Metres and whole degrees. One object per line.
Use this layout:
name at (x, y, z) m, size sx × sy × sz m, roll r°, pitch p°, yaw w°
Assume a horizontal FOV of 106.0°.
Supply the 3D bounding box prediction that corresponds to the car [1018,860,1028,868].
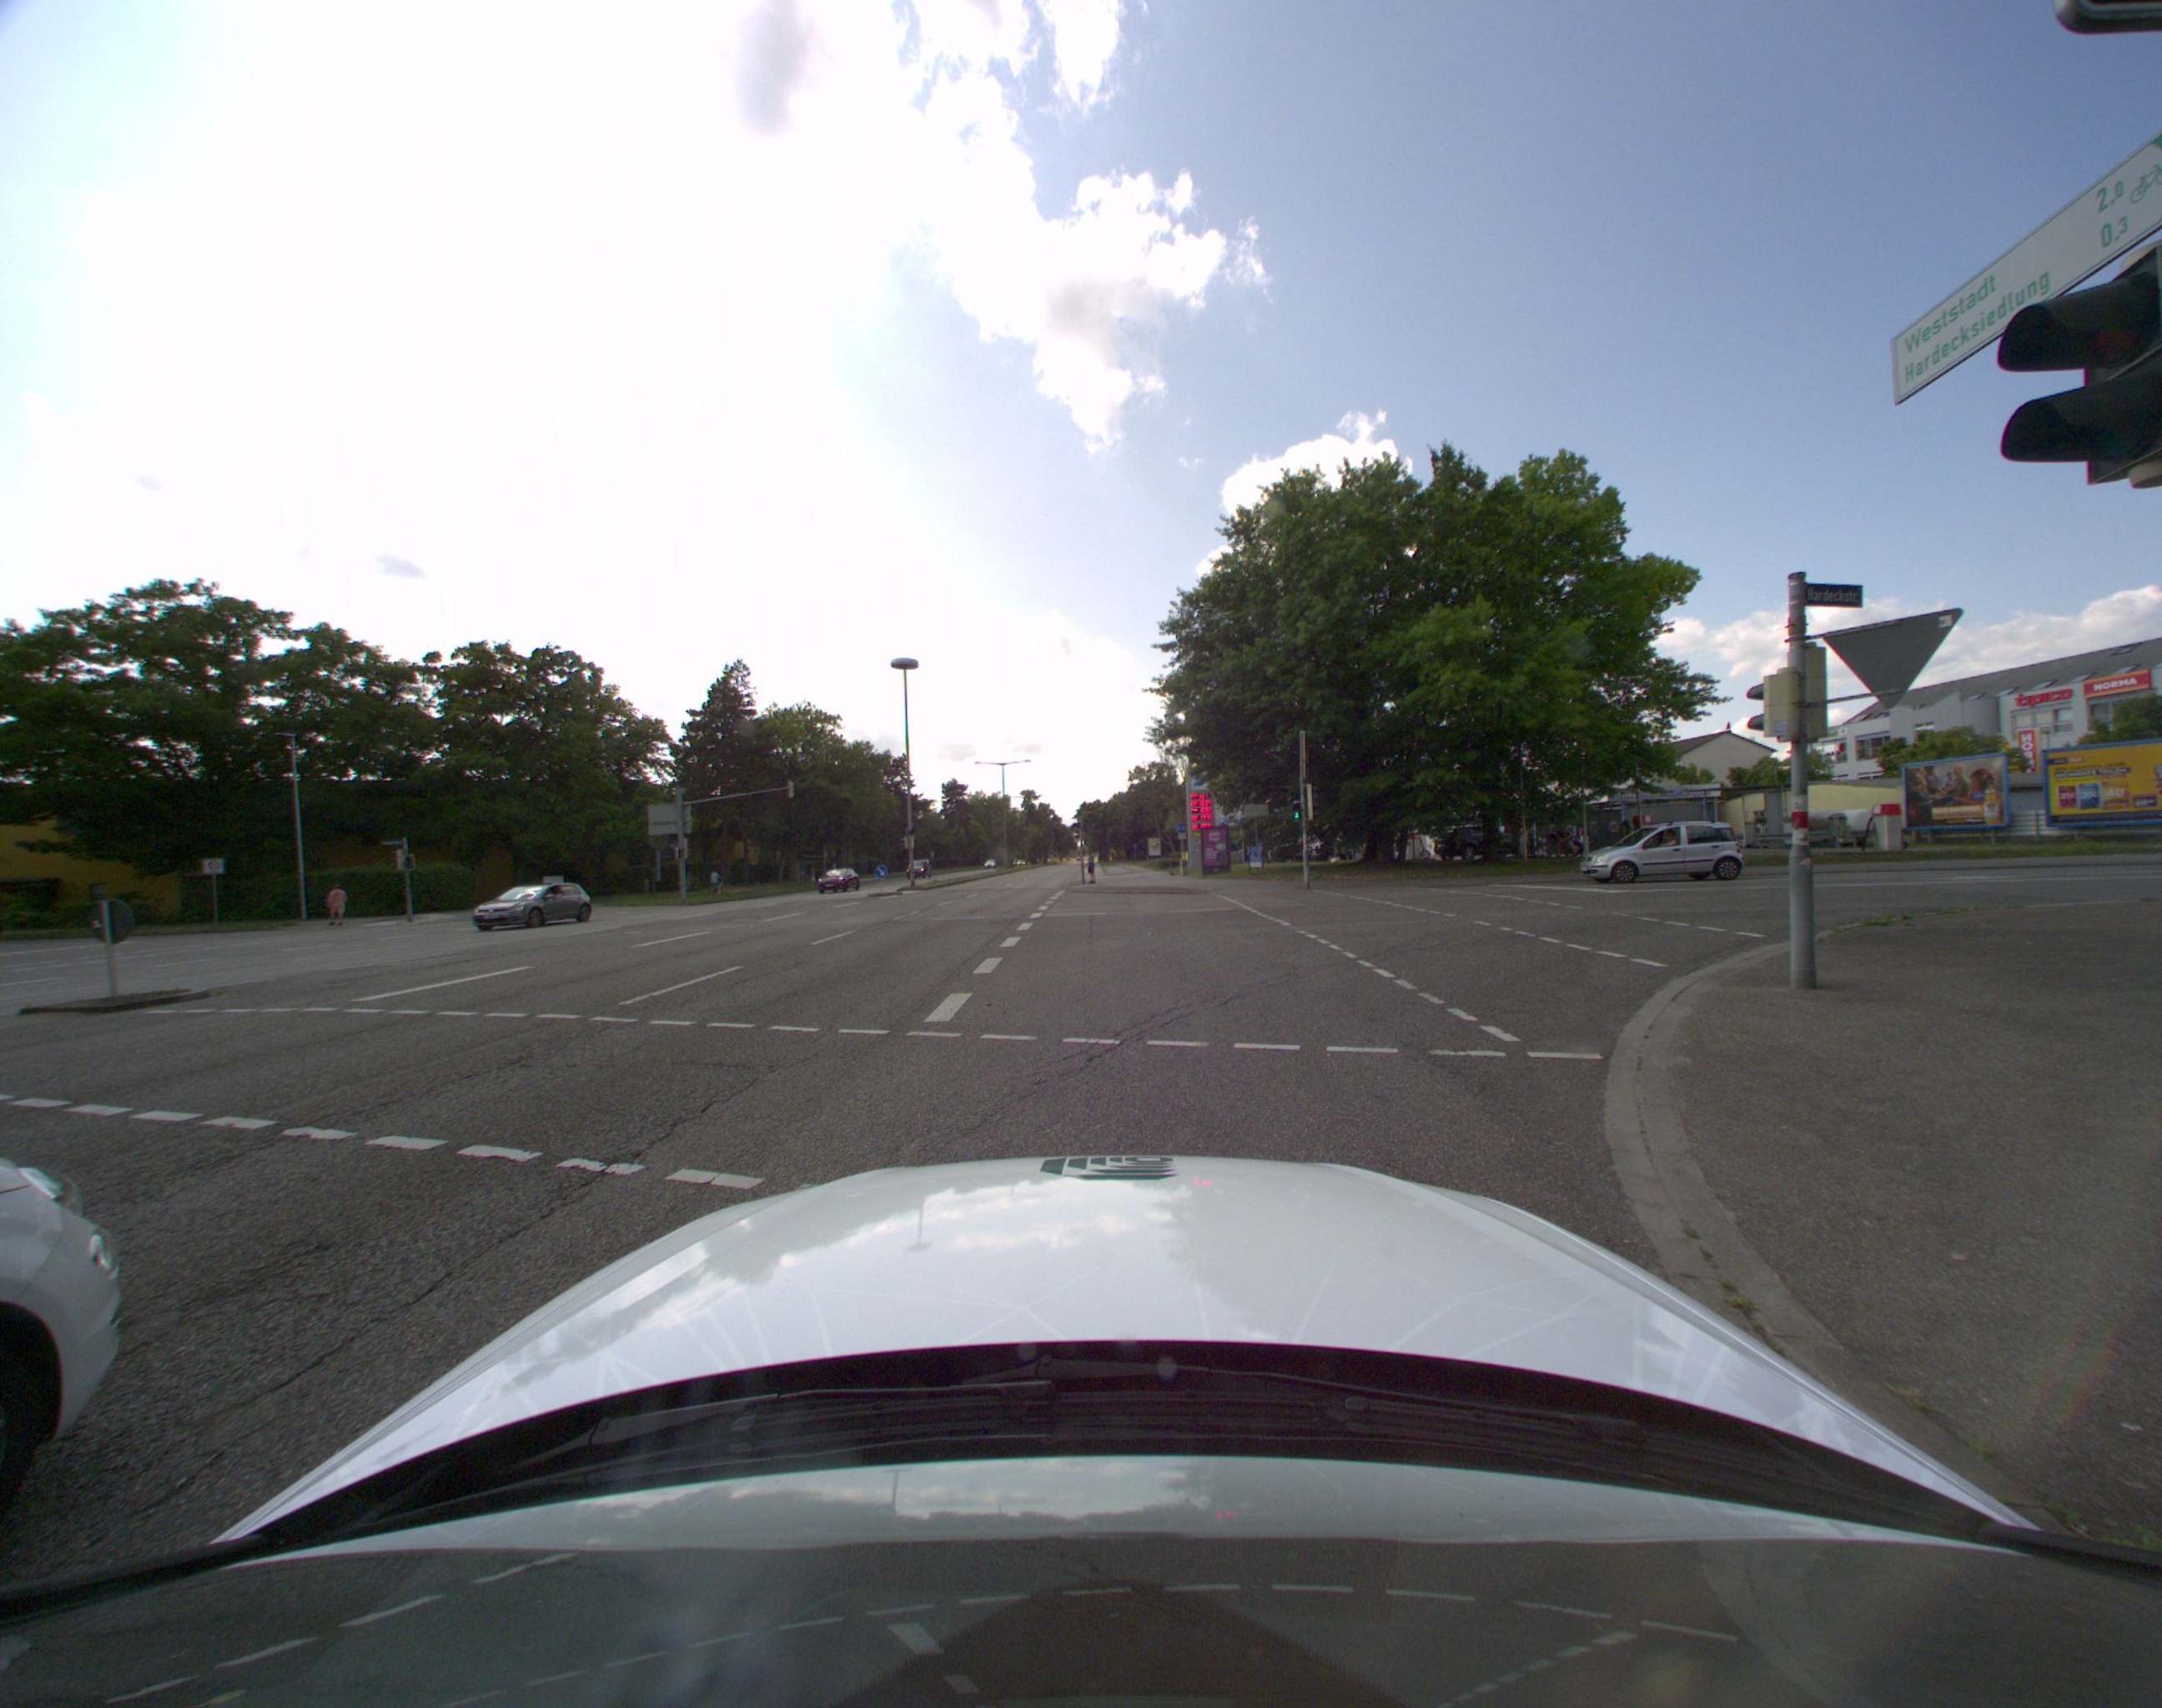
car at (-12.691, 2.131, 177.365) m, size 1.855 × 1.705 × 4.453 m, roll -3°, pitch 0°, yaw -1°

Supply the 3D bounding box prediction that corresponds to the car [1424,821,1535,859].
car at (19.700, -0.675, 40.361) m, size 4.550 × 1.596 × 2.146 m, roll -3°, pitch 0°, yaw -10°

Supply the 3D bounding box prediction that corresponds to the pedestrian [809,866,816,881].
pedestrian at (-26.213, 1.886, 79.516) m, size 0.571 × 1.496 × 0.419 m, roll 0°, pitch -1°, yaw -15°

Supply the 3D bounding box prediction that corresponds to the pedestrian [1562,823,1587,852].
pedestrian at (21.614, -0.725, 35.656) m, size 0.649 × 1.255 × 0.757 m, roll 0°, pitch -2°, yaw -43°

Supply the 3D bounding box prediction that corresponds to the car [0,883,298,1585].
car at (-3.134, 0.816, 0.634) m, size 1.564 × 1.497 × 3.540 m, roll -1°, pitch -1°, yaw 1°

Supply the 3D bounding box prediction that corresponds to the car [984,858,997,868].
car at (-16.865, 1.669, 152.341) m, size 1.854 × 1.705 × 4.455 m, roll -3°, pitch 0°, yaw 0°

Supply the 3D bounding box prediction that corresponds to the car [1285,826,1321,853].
car at (21.579, -1.348, 79.345) m, size 1.745 × 2.453 × 5.748 m, roll -3°, pitch 0°, yaw -1°

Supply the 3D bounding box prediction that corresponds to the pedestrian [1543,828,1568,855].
pedestrian at (21.159, -0.558, 36.315) m, size 0.649 × 1.190 × 0.757 m, roll 0°, pitch -2°, yaw -43°

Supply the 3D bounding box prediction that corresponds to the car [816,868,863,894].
car at (-15.359, 1.681, 52.038) m, size 1.767 × 1.465 × 4.452 m, roll -3°, pitch 0°, yaw -2°

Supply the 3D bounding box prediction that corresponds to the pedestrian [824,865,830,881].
pedestrian at (-24.858, 1.874, 79.764) m, size 0.571 × 1.496 × 0.419 m, roll 0°, pitch -1°, yaw -15°

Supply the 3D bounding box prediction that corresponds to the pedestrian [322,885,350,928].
pedestrian at (-31.217, 2.199, 34.137) m, size 0.695 × 1.742 × 0.697 m, roll -2°, pitch -1°, yaw -34°

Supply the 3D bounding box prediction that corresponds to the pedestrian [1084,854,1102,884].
pedestrian at (0.616, 0.775, 42.181) m, size 0.726 × 1.531 × 0.755 m, roll -3°, pitch -1°, yaw -15°

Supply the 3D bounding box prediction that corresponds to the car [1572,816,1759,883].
car at (14.975, -0.098, 21.048) m, size 3.571 × 1.517 × 1.565 m, roll -3°, pitch 0°, yaw 13°

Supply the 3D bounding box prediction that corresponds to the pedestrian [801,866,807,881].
pedestrian at (-26.987, 1.892, 79.291) m, size 0.571 × 1.496 × 0.419 m, roll 0°, pitch -1°, yaw -15°

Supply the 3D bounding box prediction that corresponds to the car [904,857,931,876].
car at (-17.529, 1.358, 87.646) m, size 1.759 × 1.857 × 4.817 m, roll -3°, pitch 0°, yaw 1°

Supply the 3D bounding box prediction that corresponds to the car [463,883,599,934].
car at (-18.380, 1.776, 27.444) m, size 1.588 × 1.372 × 4.085 m, roll -3°, pitch 0°, yaw 3°

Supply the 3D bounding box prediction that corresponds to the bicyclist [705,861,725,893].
bicyclist at (-23.868, 1.492, 53.082) m, size 0.747 × 2.013 × 0.833 m, roll -3°, pitch 0°, yaw 6°

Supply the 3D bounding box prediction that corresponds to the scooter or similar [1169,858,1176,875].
scooter or similar at (5.209, 0.702, 46.382) m, size 0.220 × 0.979 × 1.272 m, roll -3°, pitch 0°, yaw 1°

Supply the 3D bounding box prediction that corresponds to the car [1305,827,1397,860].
car at (17.402, -0.667, 52.533) m, size 5.181 × 1.827 × 2.146 m, roll -3°, pitch 0°, yaw -10°

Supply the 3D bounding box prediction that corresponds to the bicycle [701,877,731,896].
bicycle at (-23.820, 2.122, 53.156) m, size 0.751 × 1.119 × 2.118 m, roll -3°, pitch 0°, yaw 7°

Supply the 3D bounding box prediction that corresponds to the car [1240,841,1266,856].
car at (17.342, -0.550, 82.208) m, size 1.745 × 1.454 × 3.739 m, roll -3°, pitch 0°, yaw -1°

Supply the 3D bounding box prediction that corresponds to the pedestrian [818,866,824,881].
pedestrian at (-25.665, 1.925, 80.413) m, size 0.571 × 1.496 × 0.419 m, roll 0°, pitch -1°, yaw -15°

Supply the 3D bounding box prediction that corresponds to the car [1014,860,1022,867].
car at (-15.841, 2.300, 205.149) m, size 1.855 × 1.705 × 4.453 m, roll -3°, pitch 0°, yaw -1°
